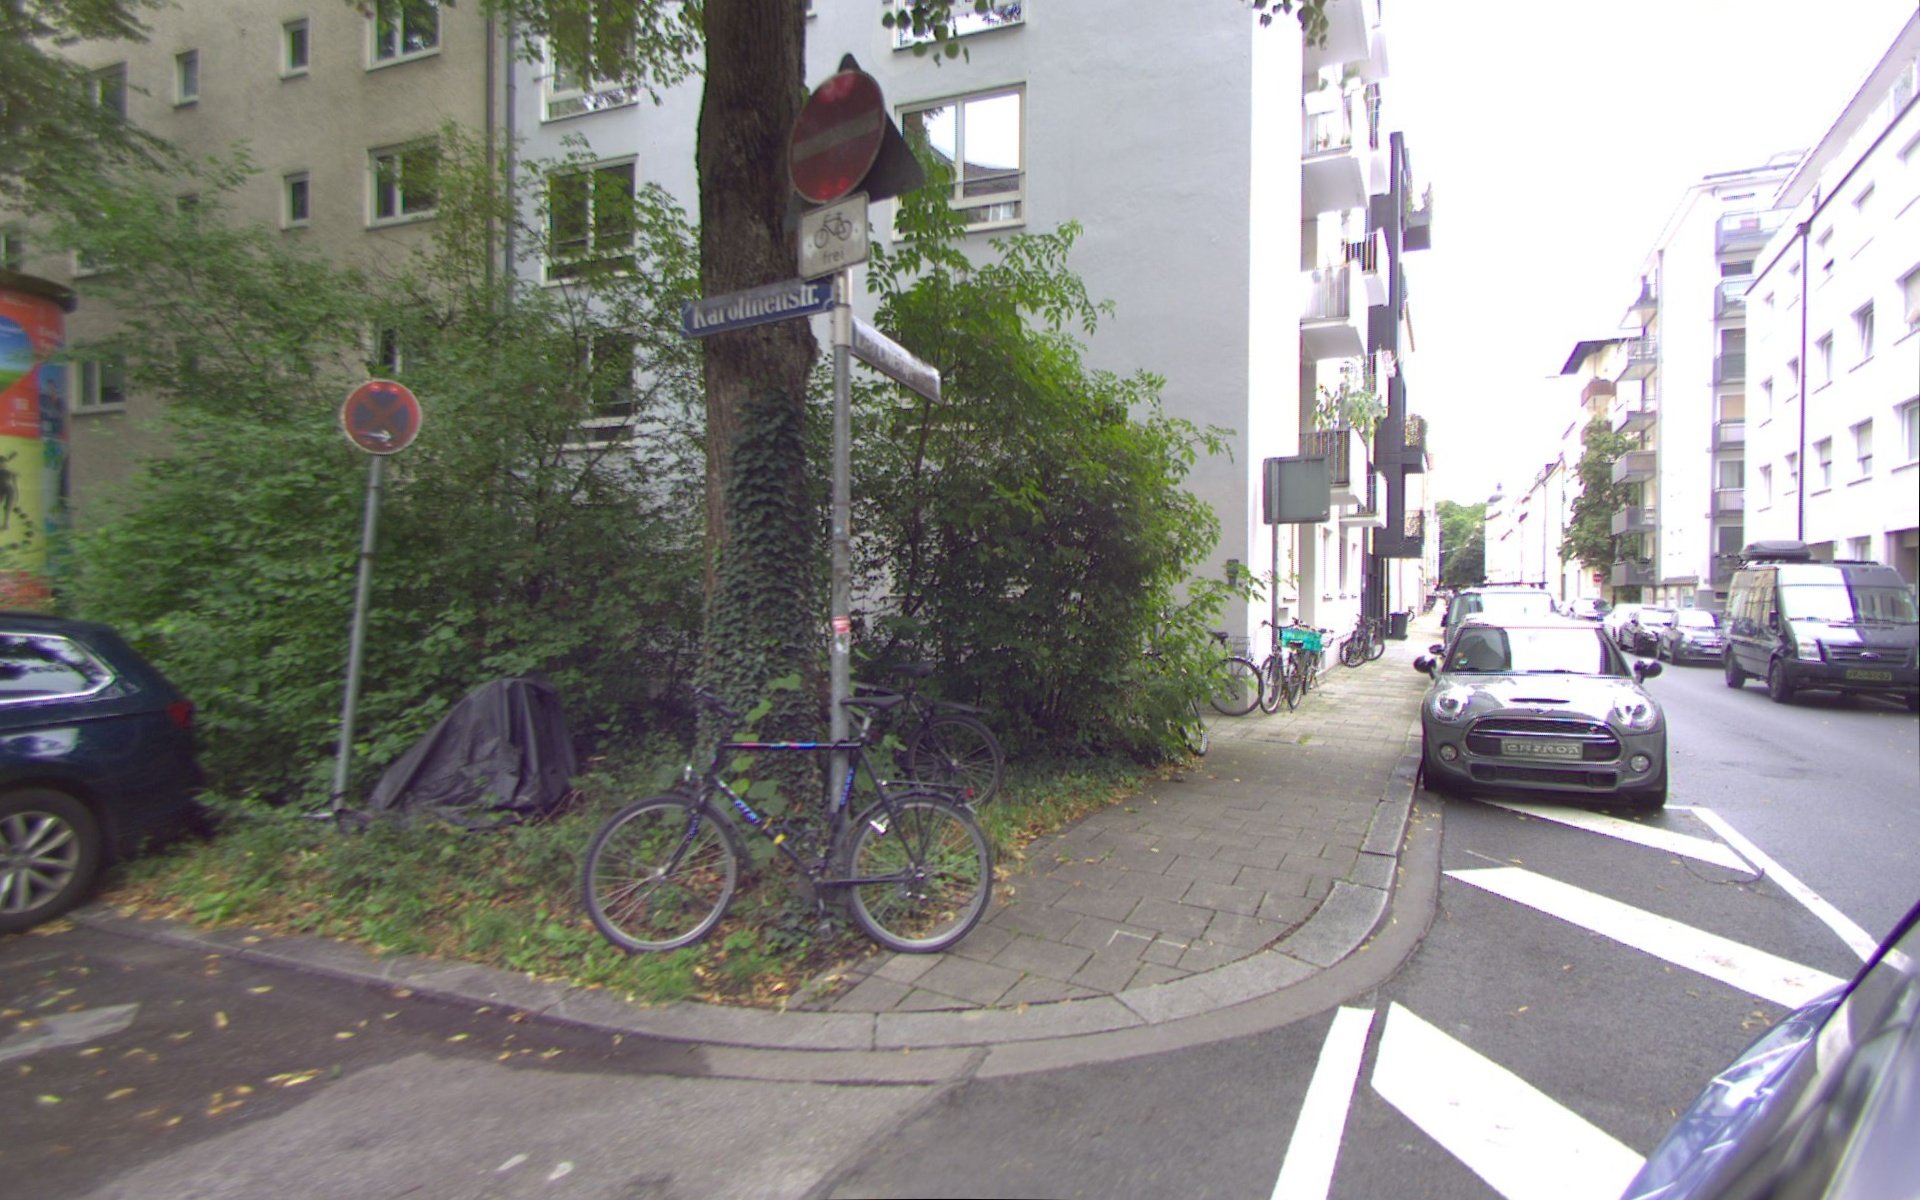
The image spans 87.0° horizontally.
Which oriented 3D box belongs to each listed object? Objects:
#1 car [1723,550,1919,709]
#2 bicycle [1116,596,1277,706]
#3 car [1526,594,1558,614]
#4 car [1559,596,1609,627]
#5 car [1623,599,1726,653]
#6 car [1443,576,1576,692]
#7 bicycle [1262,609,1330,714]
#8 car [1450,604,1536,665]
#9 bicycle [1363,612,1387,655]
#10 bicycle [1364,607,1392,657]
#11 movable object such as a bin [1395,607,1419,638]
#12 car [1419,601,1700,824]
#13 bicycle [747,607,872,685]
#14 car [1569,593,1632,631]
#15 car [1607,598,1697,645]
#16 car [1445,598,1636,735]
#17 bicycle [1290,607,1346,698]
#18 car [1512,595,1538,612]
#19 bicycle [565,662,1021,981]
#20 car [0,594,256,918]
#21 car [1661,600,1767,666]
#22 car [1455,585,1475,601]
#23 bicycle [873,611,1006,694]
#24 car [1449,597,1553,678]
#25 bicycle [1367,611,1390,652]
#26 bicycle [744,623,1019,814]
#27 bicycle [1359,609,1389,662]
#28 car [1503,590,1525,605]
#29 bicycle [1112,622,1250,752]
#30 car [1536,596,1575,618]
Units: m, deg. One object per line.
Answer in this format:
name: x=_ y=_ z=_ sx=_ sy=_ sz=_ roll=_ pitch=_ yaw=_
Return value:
car: x=15.063 y=0.405 z=17.473 sx=2.006 sy=2.307 sz=5.340 roll=3 pitch=2 yaw=27
bicycle: x=2.820 y=0.585 z=12.097 sx=1.830 sy=1.245 sz=0.574 roll=0 pitch=-1 yaw=20
car: x=45.466 y=0.320 z=79.137 sx=1.878 sy=1.471 sz=4.258 roll=1 pitch=1 yaw=26
car: x=32.192 y=0.568 z=52.306 sx=1.801 sy=1.460 sz=4.258 roll=1 pitch=1 yaw=26
car: x=21.630 y=0.724 z=30.793 sx=1.787 sy=1.434 sz=4.191 roll=1 pitch=1 yaw=24
car: x=9.804 y=0.494 z=18.341 sx=1.862 sy=1.813 sz=4.739 roll=1 pitch=1 yaw=26
bicycle: x=4.332 y=0.739 z=12.971 sx=0.556 sy=1.235 sz=1.899 roll=0 pitch=0 yaw=27
car: x=14.323 y=0.886 z=27.380 sx=1.746 sy=1.449 sz=4.225 roll=-3 pitch=0 yaw=25
bicycle: x=10.551 y=0.834 z=25.687 sx=0.473 sy=1.015 sz=1.538 roll=0 pitch=0 yaw=26
bicycle: x=10.236 y=0.771 z=24.763 sx=0.567 sy=1.165 sz=1.549 roll=0 pitch=0 yaw=26
movable object such as a bin: x=17.031 y=0.837 z=38.553 sx=0.790 sy=1.154 sz=0.569 roll=0 pitch=0 yaw=26
car: x=5.184 y=0.767 z=9.074 sx=1.732 sy=1.459 sz=3.961 roll=1 pitch=1 yaw=28
bicycle: x=-2.088 y=0.620 z=14.054 sx=1.681 sy=1.036 sz=0.535 roll=0 pitch=-1 yaw=21
car: x=29.641 y=0.520 z=46.936 sx=1.954 sy=1.627 sz=4.499 roll=1 pitch=1 yaw=26
car: x=23.989 y=0.678 z=35.253 sx=1.899 sy=1.455 sz=4.765 roll=1 pitch=1 yaw=26
car: x=7.351 y=0.714 z=13.178 sx=1.820 sy=1.437 sz=4.022 roll=1 pitch=1 yaw=26
bicycle: x=5.332 y=0.730 z=15.004 sx=0.618 sy=1.235 sz=2.230 roll=0 pitch=0 yaw=24
car: x=53.011 y=0.300 z=94.942 sx=1.878 sy=1.471 sz=4.258 roll=1 pitch=1 yaw=26
bicycle: x=-0.660 y=0.855 z=4.192 sx=1.737 sy=1.152 sz=0.555 roll=0 pitch=0 yaw=-7
car: x=-5.415 y=0.682 z=3.523 sx=1.933 sy=1.395 sz=4.707 roll=0 pitch=0 yaw=17
car: x=19.751 y=0.801 z=26.655 sx=1.602 sy=1.464 sz=3.706 roll=3 pitch=2 yaw=28
car: x=54.030 y=-0.730 z=108.397 sx=1.878 sy=1.651 sz=4.258 roll=1 pitch=1 yaw=26
bicycle: x=-0.272 y=0.674 z=13.335 sx=1.681 sy=1.036 sz=0.535 roll=0 pitch=-1 yaw=21
car: x=12.187 y=0.750 z=23.035 sx=1.893 sy=1.573 sz=4.583 roll=1 pitch=1 yaw=26
bicycle: x=11.226 y=0.830 z=27.138 sx=0.473 sy=1.061 sz=1.508 roll=0 pitch=0 yaw=26
bicycle: x=-0.474 y=0.690 z=6.295 sx=1.610 sy=1.069 sz=0.603 roll=0 pitch=0 yaw=13
bicycle: x=9.524 y=0.791 z=23.267 sx=0.567 sy=1.165 sz=1.418 roll=0 pitch=0 yaw=26
car: x=59.747 y=-0.285 z=109.225 sx=1.878 sy=1.471 sz=4.258 roll=1 pitch=1 yaw=26
bicycle: x=2.022 y=0.762 z=9.481 sx=0.442 sy=1.069 sz=1.638 roll=0 pitch=0 yaw=-20
car: x=40.760 y=0.431 z=69.342 sx=1.954 sy=1.394 sz=4.258 roll=1 pitch=1 yaw=26
